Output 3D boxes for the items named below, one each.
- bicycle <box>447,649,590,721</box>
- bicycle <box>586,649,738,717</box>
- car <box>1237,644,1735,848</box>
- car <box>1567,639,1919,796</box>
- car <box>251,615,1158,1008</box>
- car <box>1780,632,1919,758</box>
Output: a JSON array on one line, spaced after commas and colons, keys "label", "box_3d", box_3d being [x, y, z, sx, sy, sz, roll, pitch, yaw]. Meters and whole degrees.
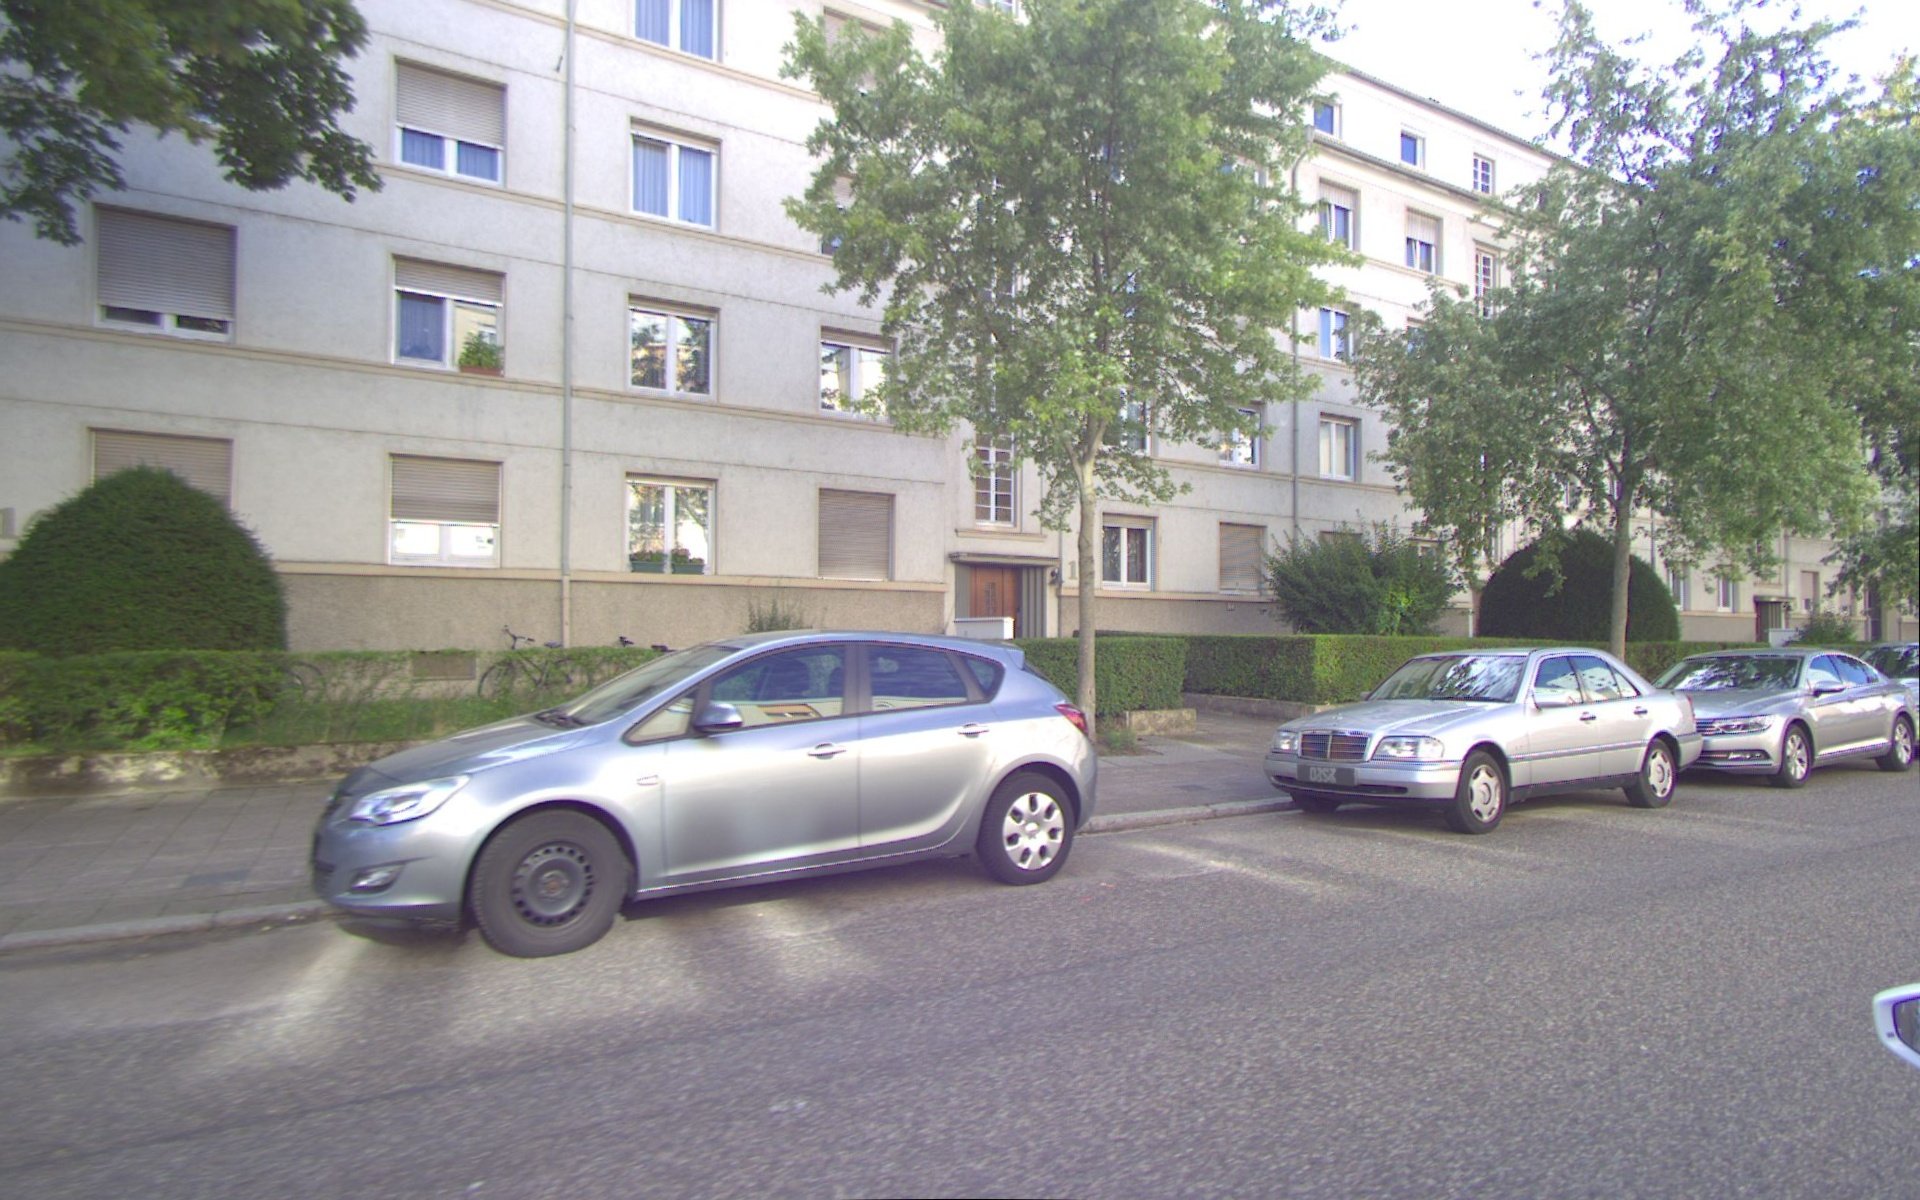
[{"label": "bicycle", "box_3d": [-6.951, 1.313, 15.848, 2.000, 1.074, 0.631, 2, -1, -31]}, {"label": "bicycle", "box_3d": [-5.017, 1.373, 16.986, 2.377, 1.074, 0.631, 2, -1, -31]}, {"label": "car", "box_3d": [4.786, 1.131, 8.956, 4.611, 1.411, 1.730, 1, -5, -31]}, {"label": "car", "box_3d": [9.428, 1.253, 11.706, 4.885, 1.505, 1.848, 1, -5, -30]}, {"label": "car", "box_3d": [-1.208, 0.902, 5.880, 4.630, 1.505, 1.846, 1, -3, -31]}, {"label": "car", "box_3d": [13.826, 1.273, 14.251, 4.405, 1.593, 1.848, 1, -4, -29]}]
